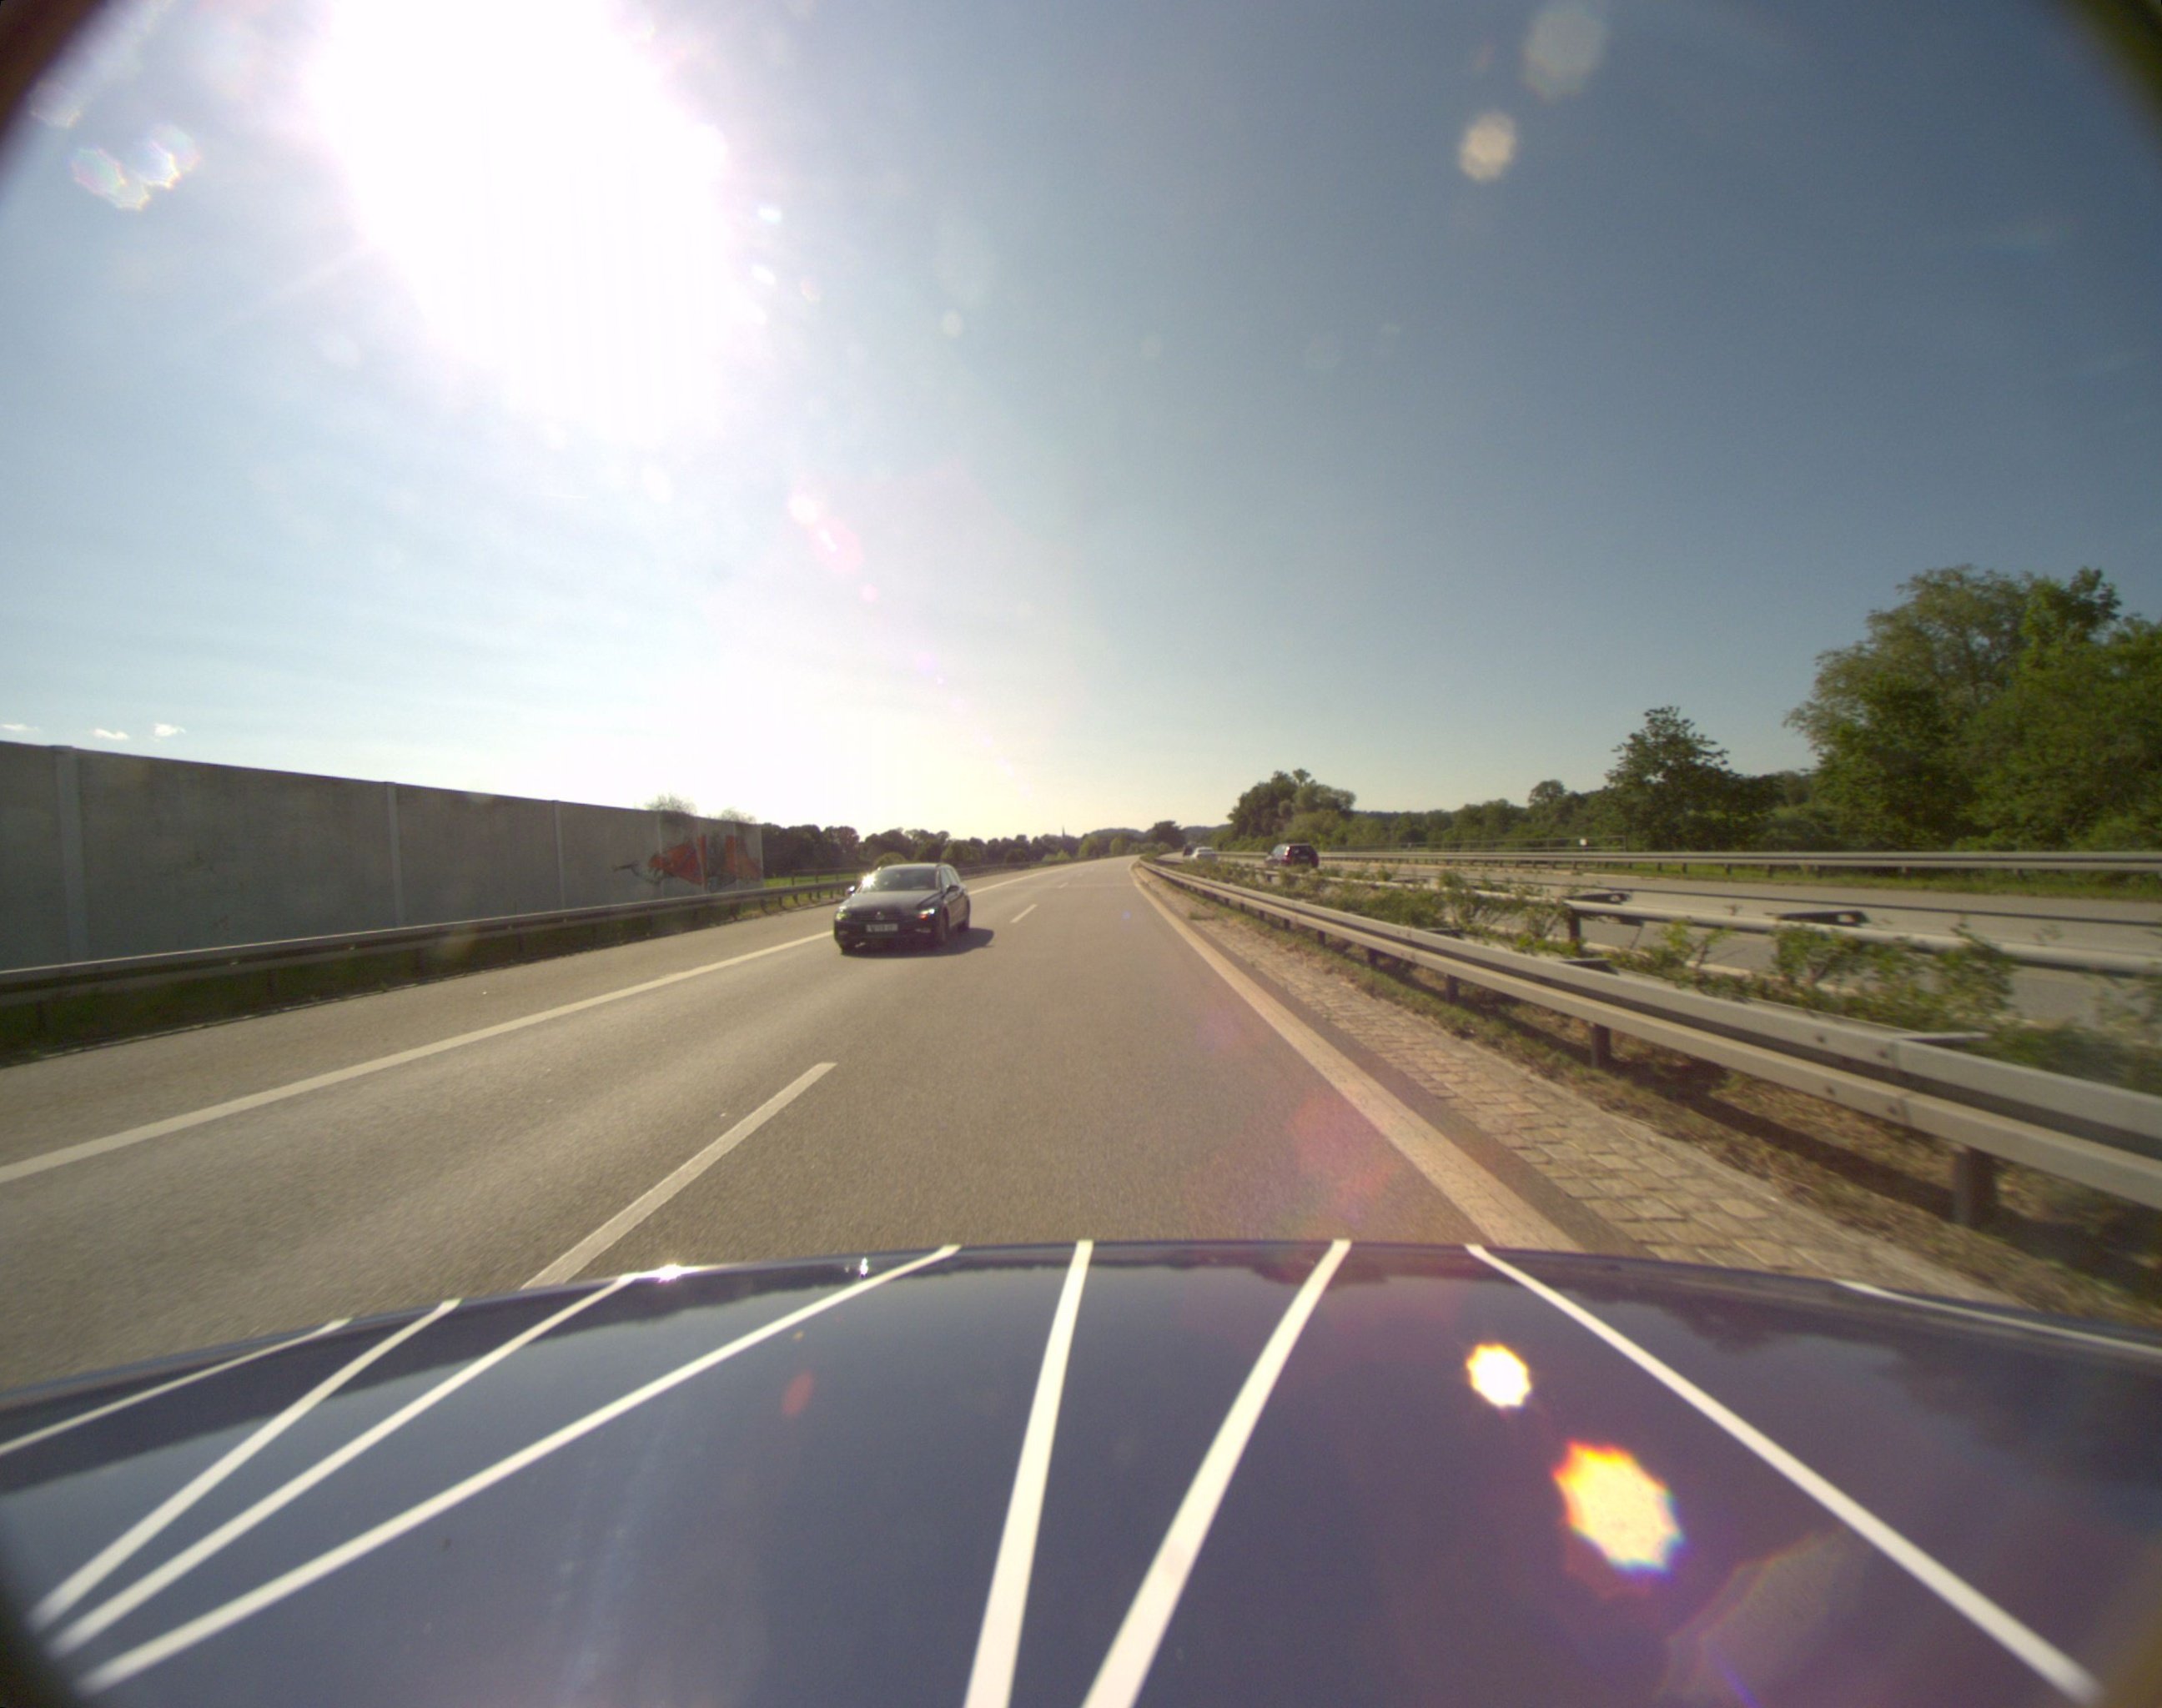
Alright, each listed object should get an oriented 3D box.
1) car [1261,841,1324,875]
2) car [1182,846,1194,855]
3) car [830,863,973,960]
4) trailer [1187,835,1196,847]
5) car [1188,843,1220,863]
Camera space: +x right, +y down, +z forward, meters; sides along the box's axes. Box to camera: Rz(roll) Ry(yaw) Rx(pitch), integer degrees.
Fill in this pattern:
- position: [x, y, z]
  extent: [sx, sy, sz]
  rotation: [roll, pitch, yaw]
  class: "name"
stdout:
- position: [10.155, 0.190, 36.884]
  extent: [1.777, 1.461, 4.506]
  rotation: [-3, 0, 0]
  class: "car"
- position: [20.359, -0.729, 145.195]
  extent: [1.998, 1.669, 5.319]
  rotation: [-1, 0, 5]
  class: "car"
- position: [-3.238, 0.968, 14.619]
  extent: [1.723, 1.392, 4.412]
  rotation: [-2, 1, -1]
  class: "car"
- position: [36.553, -4.206, 251.065]
  extent: [2.746, 3.705, 10.919]
  rotation: [-2, 1, 8]
  class: "trailer"
- position: [9.832, -0.089, 61.074]
  extent: [1.825, 1.426, 4.650]
  rotation: [-3, 0, 1]
  class: "car"
